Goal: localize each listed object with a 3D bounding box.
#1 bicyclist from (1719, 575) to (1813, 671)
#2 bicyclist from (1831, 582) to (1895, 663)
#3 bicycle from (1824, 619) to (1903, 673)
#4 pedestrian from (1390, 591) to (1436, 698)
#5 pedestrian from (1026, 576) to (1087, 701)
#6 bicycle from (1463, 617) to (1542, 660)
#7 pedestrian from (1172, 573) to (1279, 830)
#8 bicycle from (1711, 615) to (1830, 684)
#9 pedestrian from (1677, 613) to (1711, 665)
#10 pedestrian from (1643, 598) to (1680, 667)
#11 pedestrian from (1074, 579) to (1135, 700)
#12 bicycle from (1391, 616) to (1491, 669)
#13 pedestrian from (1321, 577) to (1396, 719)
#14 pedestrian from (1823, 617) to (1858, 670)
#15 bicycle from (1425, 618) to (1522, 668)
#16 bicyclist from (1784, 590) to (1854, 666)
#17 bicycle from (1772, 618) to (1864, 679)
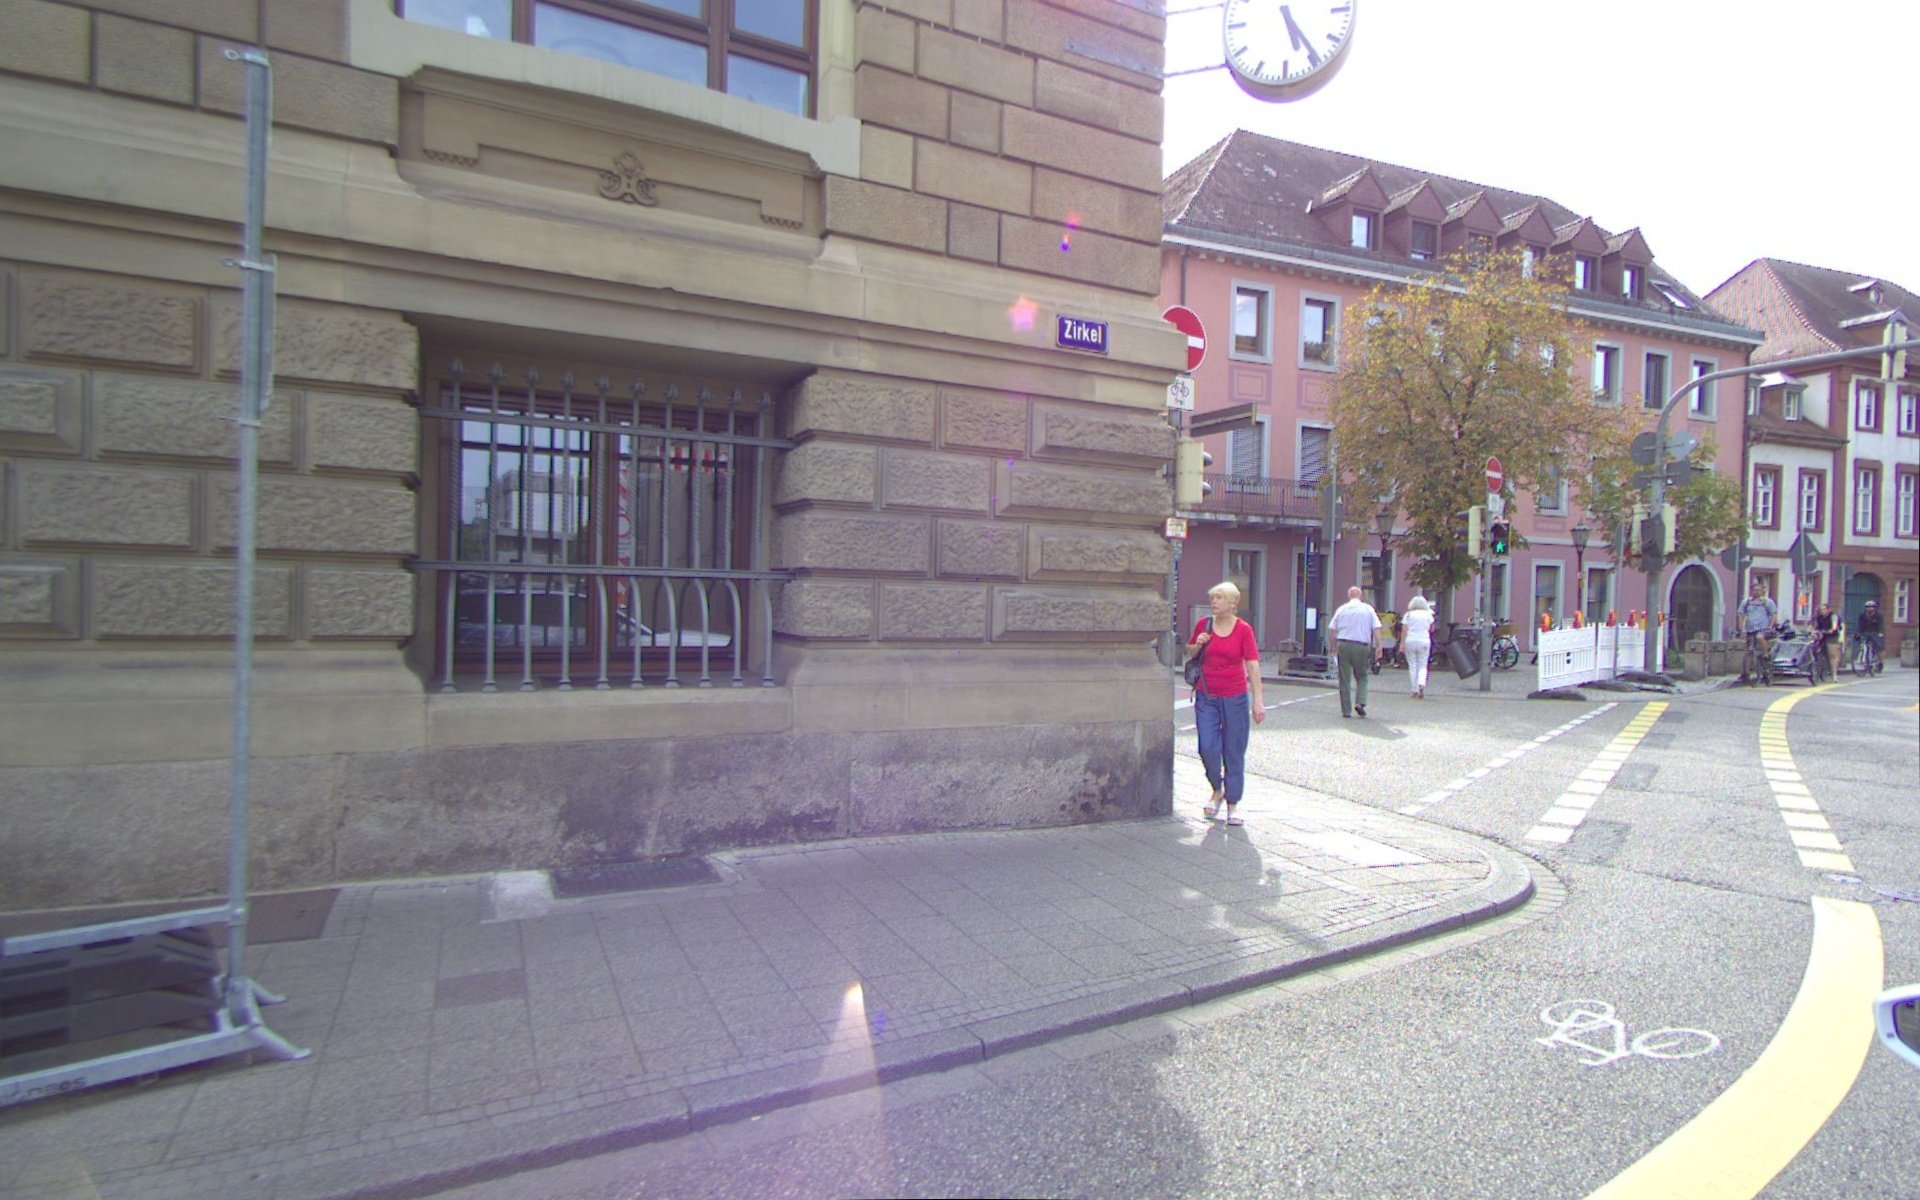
[{"bbox_3d":[16.141,0.458,20.115,1.351,1.848,1.084,2,0,-34],"label":"bicyclist"},{"bbox_3d":[22.786,0.553,25.347,1.094,1.989,0.920,2,0,-34],"label":"bicyclist"},{"bbox_3d":[22.884,1.157,25.428,2.515,1.272,0.920,2,0,-35],"label":"bicycle"},{"bbox_3d":[7.381,0.706,16.354,0.654,1.699,0.697,0,-1,26],"label":"pedestrian"},{"bbox_3d":[1.495,0.597,15.659,0.731,1.896,0.662,2,0,-12],"label":"pedestrian"},{"bbox_3d":[15.256,1.086,28.253,2.022,1.154,0.672,1,-1,-13],"label":"bicycle"},{"bbox_3d":[1.824,0.660,6.869,0.604,1.656,0.544,2,0,21],"label":"pedestrian"},{"bbox_3d":[16.431,0.983,20.324,3.010,1.272,1.049,2,0,-35],"label":"bicycle"},{"bbox_3d":[24.117,1.275,32.996,0.688,1.699,0.662,1,-1,-25],"label":"pedestrian"},{"bbox_3d":[17.509,0.804,25.082,0.654,1.699,0.697,0,-1,26],"label":"pedestrian"},{"bbox_3d":[2.307,0.623,16.110,0.731,1.896,0.662,2,0,-12],"label":"pedestrian"},{"bbox_3d":[10.473,0.906,21.952,0.499,1.073,2.042,2,-1,-30],"label":"bicycle"},{"bbox_3d":[5.488,0.636,13.815,0.833,1.859,0.856,2,0,26],"label":"pedestrian"},{"bbox_3d":[28.766,1.420,32.812,0.688,1.699,0.662,1,-1,-25],"label":"pedestrian"},{"bbox_3d":[11.738,0.957,23.036,0.499,1.073,2.042,2,-1,-30],"label":"bicycle"},{"bbox_3d":[19.052,0.616,22.281,1.053,1.630,0.920,2,0,-34],"label":"bicyclist"},{"bbox_3d":[19.064,1.060,22.302,2.515,1.272,0.920,2,0,-35],"label":"bicycle"}]
